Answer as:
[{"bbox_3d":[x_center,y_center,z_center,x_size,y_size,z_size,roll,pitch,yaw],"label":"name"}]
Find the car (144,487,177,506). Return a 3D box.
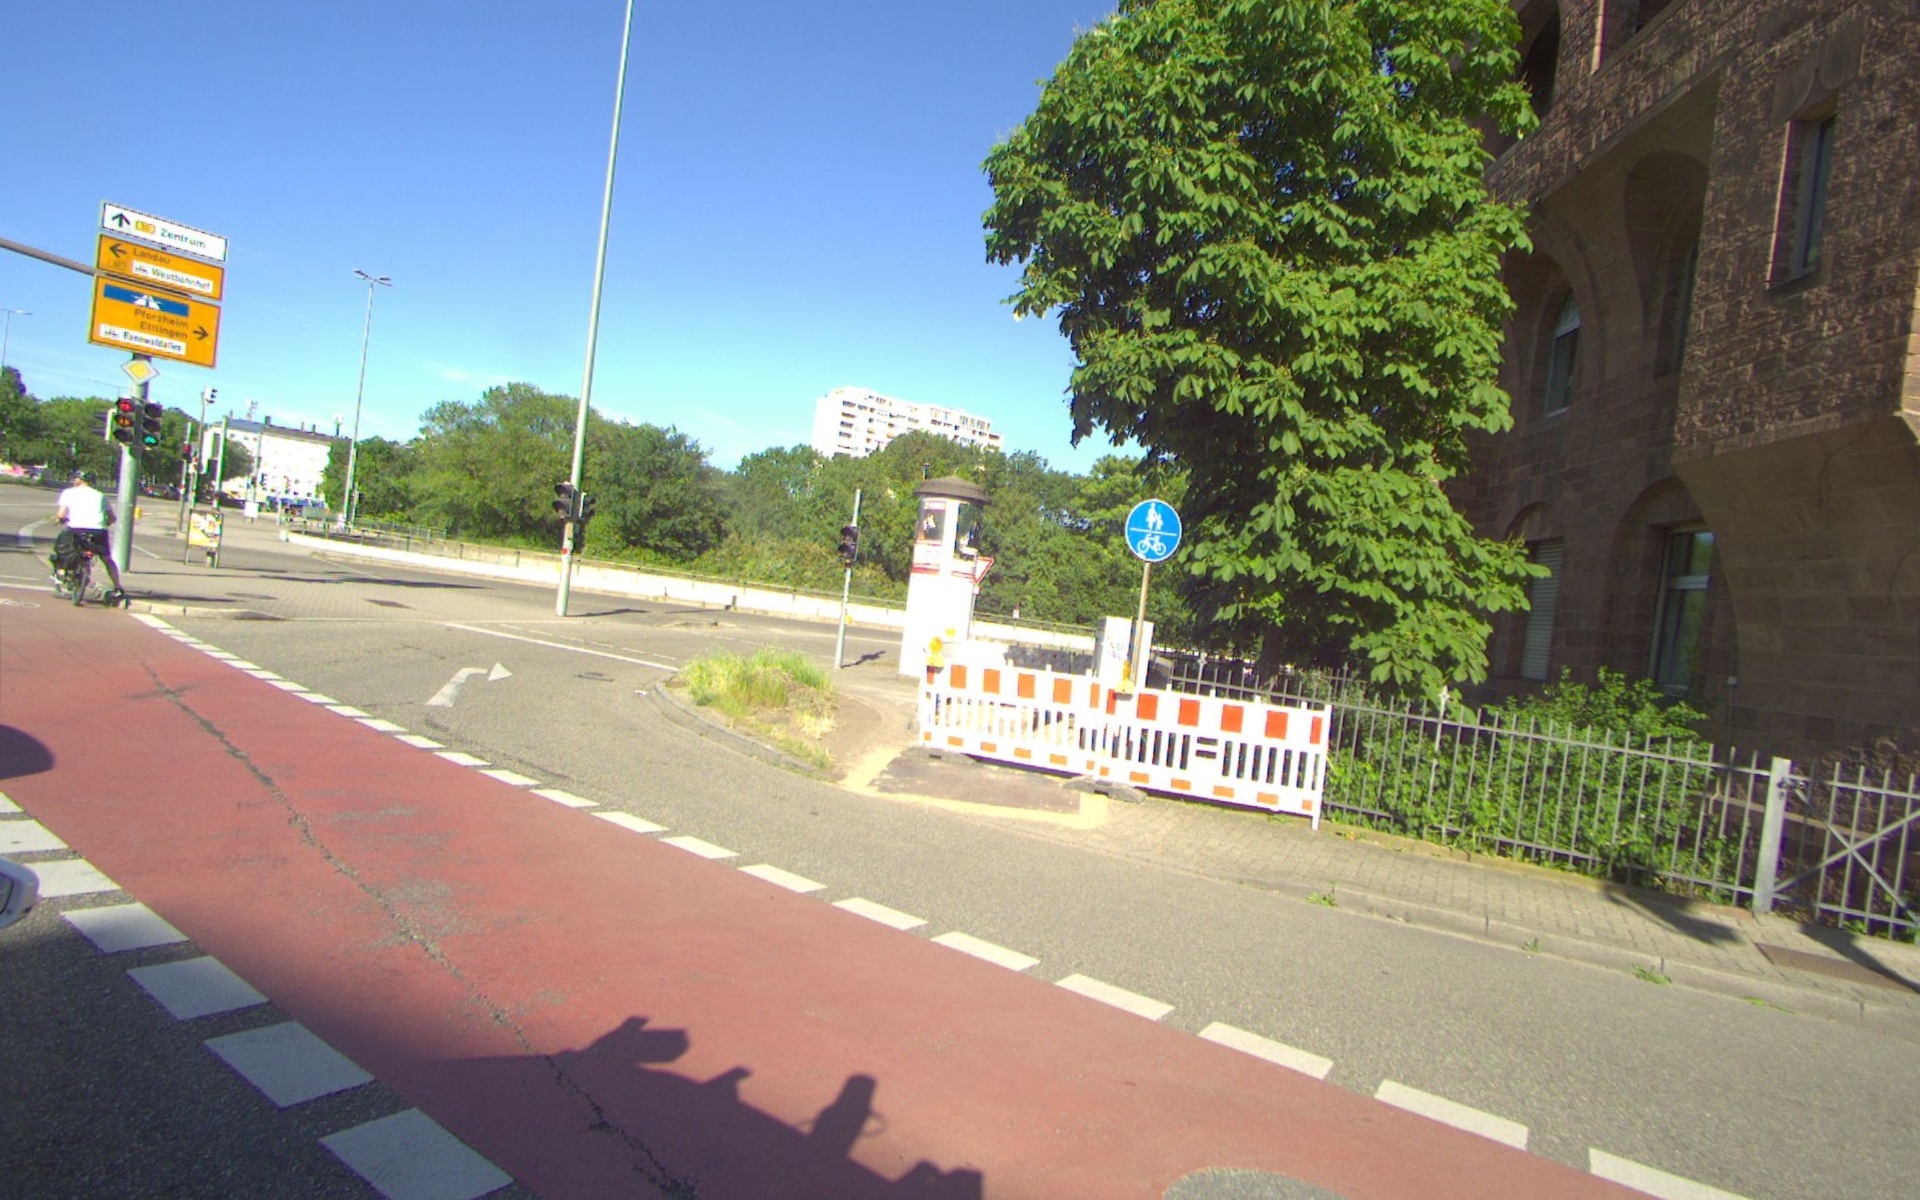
[{"bbox_3d":[-82.749,-10.672,104.183,1.931,1.547,4.064,7,0,-30],"label":"car"}]

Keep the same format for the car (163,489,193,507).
[{"bbox_3d":[-85.783,-11.138,110.384,1.930,1.547,4.065,7,0,-29],"label":"car"}]

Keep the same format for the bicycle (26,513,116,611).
[{"bbox_3d":[-12.171,-0.535,13.753,1.802,1.115,0.690,8,0,44],"label":"bicycle"}]

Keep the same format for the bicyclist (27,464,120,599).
[{"bbox_3d":[-12.119,-0.942,13.751,1.098,1.680,0.723,9,1,44],"label":"bicyclist"}]
